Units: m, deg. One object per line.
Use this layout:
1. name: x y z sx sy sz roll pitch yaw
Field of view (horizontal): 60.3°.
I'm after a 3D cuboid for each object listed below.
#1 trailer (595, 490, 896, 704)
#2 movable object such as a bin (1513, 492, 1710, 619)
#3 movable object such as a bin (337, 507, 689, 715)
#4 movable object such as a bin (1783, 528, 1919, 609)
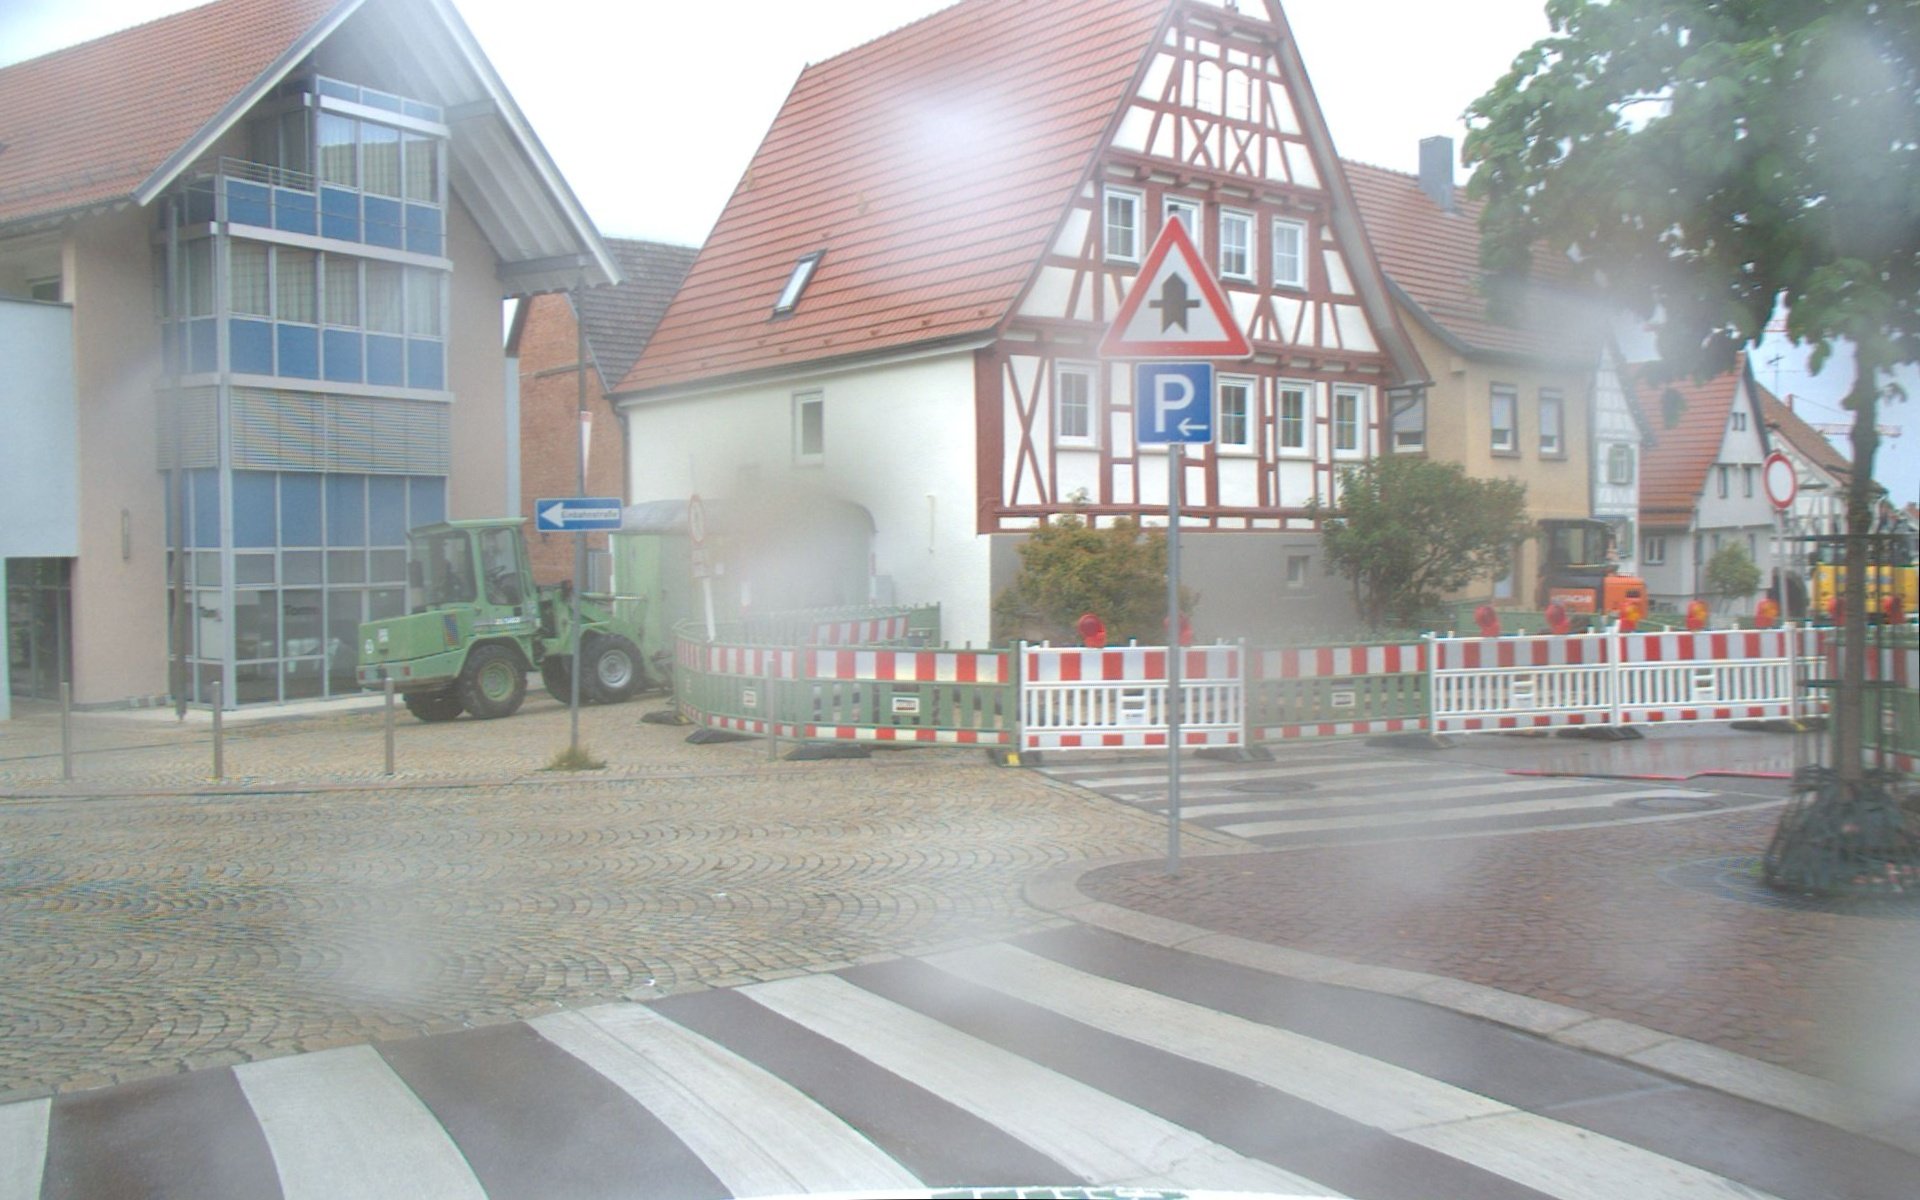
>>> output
1. trailer: -3.328 -0.110 24.916 2.468 2.886 4.568 1 1 -39
2. movable object such as a bin: 11.386 -0.708 28.770 1.878 2.049 3.974 -1 -1 43
3. movable object such as a bin: -6.077 0.093 22.767 4.257 2.599 1.881 -2 0 -43
4. movable object such as a bin: 24.397 -0.841 44.707 3.345 2.048 3.466 2 1 36
